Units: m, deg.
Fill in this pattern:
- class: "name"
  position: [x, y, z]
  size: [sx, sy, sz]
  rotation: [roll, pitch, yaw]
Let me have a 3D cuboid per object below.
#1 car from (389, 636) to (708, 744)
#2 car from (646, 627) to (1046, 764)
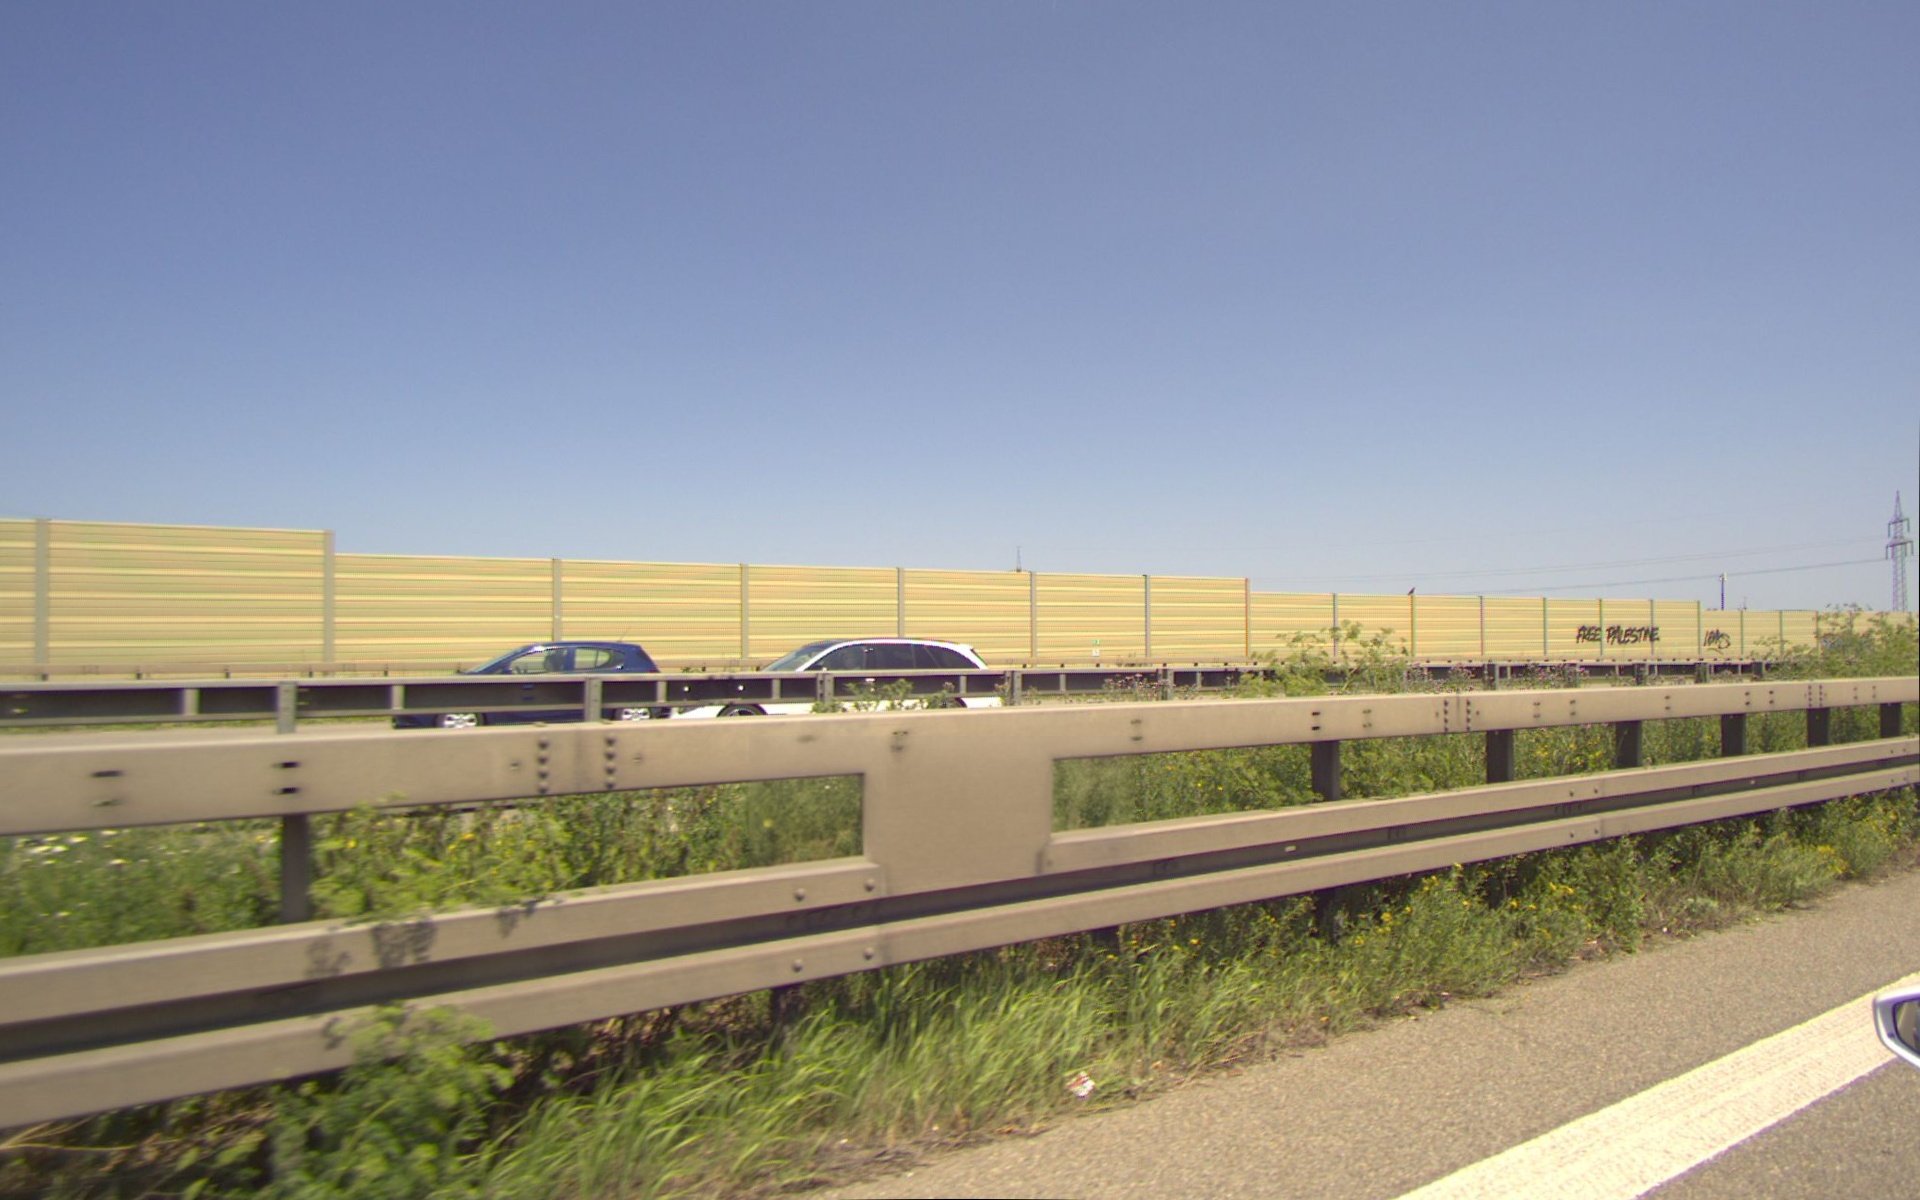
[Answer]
- class: "car"
  position: [-6.415, 1.343, 15.815]
  size: [4.432, 1.428, 1.710]
  rotation: [2, 0, -31]
- class: "car"
  position: [-1.495, 1.242, 14.061]
  size: [5.245, 1.615, 1.984]
  rotation: [2, -3, -31]
